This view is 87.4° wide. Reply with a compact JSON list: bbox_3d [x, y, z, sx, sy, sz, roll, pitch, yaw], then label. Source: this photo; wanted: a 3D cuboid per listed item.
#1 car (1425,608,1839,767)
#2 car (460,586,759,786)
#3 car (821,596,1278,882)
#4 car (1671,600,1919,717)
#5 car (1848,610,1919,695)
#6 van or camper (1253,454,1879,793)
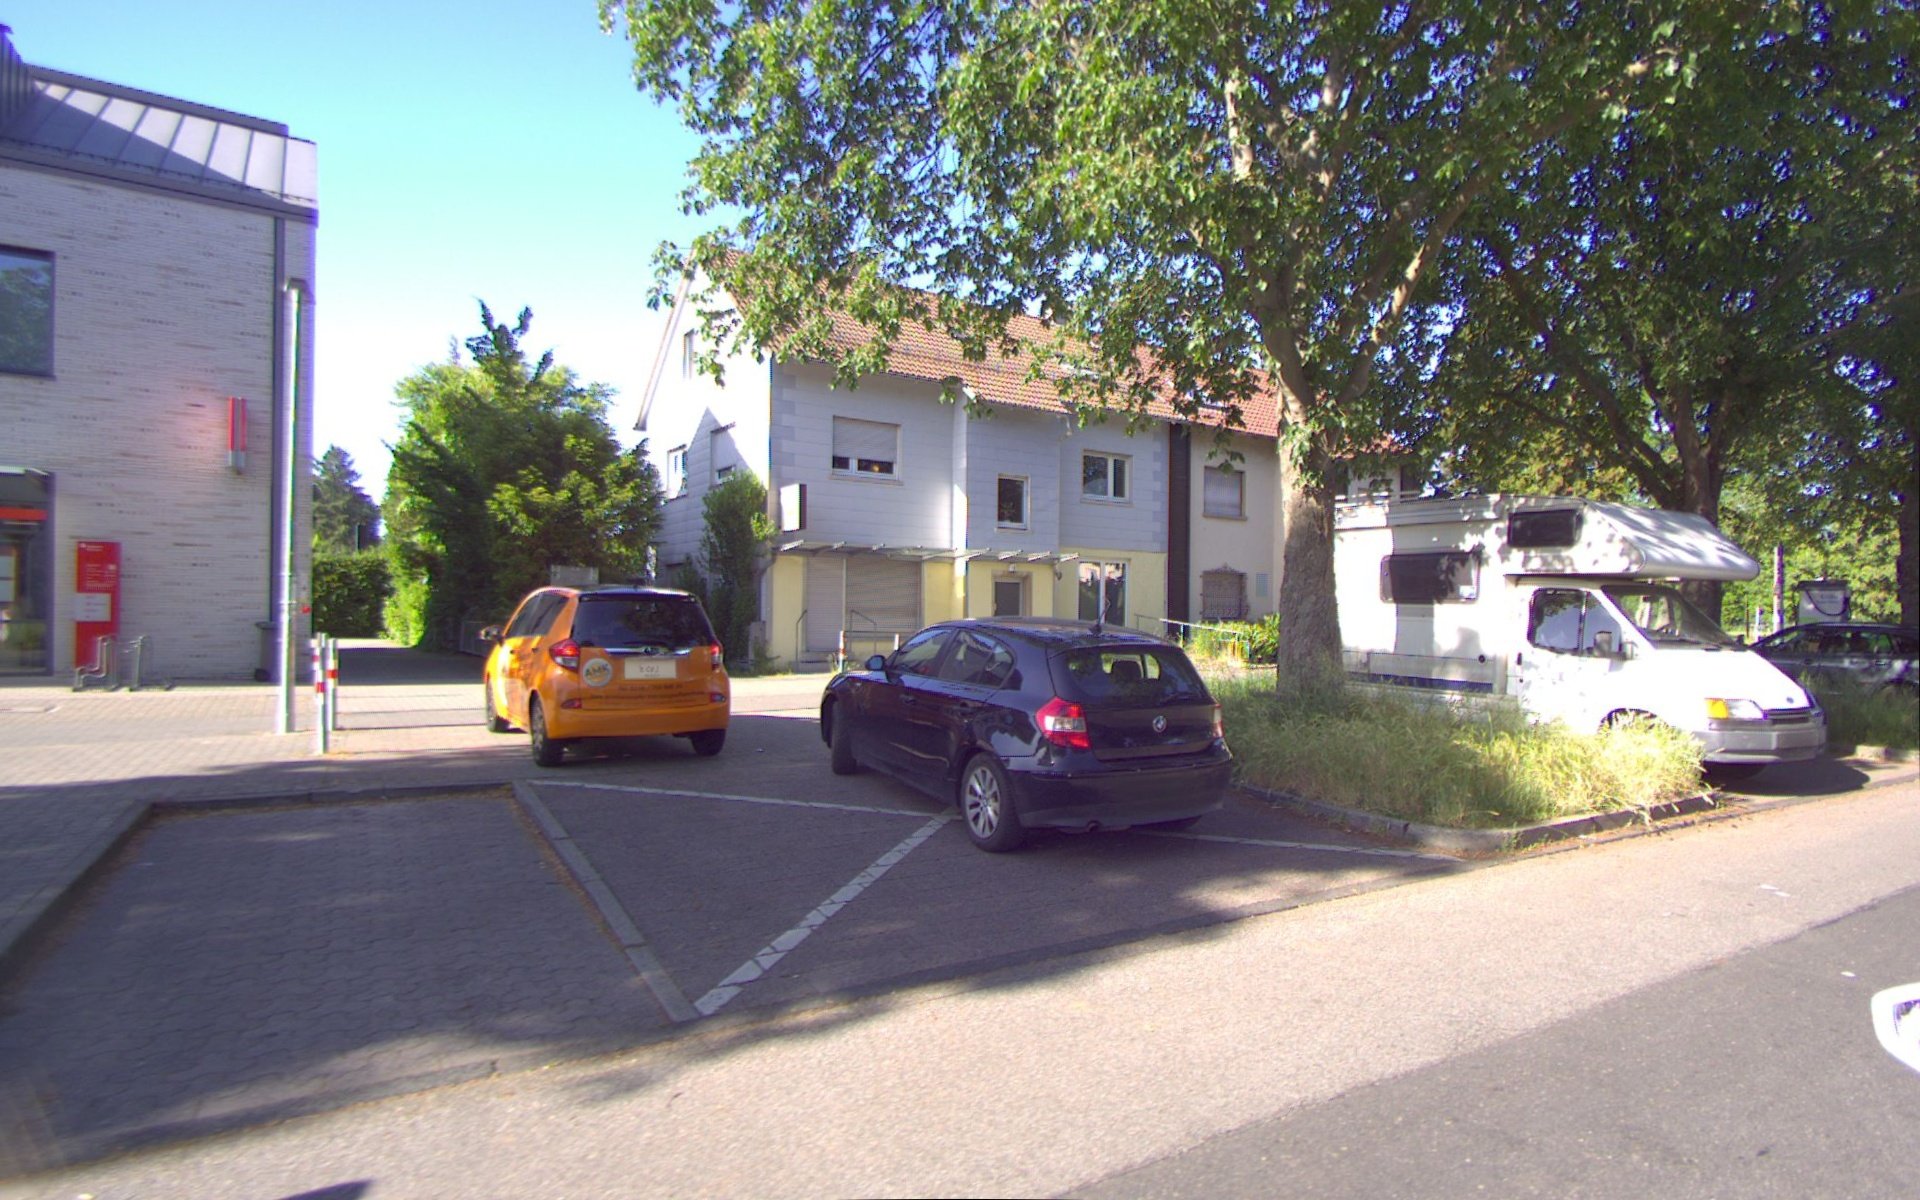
[{"bbox_3d":[8.510,0.982,13.084,1.978,1.478,3.964,2,2,-32],"label":"car"},{"bbox_3d":[-3.752,0.694,10.292,1.852,1.563,3.959,1,1,-35],"label":"car"},{"bbox_3d":[0.369,0.794,7.754,1.618,1.469,3.972,2,1,-27],"label":"car"},{"bbox_3d":[15.005,0.950,17.330,1.978,1.610,3.965,2,2,-31],"label":"car"},{"bbox_3d":[20.432,1.082,19.828,1.944,1.683,3.966,1,0,-31],"label":"car"},{"bbox_3d":[6.218,0.073,11.398,1.975,2.843,5.750,2,2,-28],"label":"van or camper"}]
